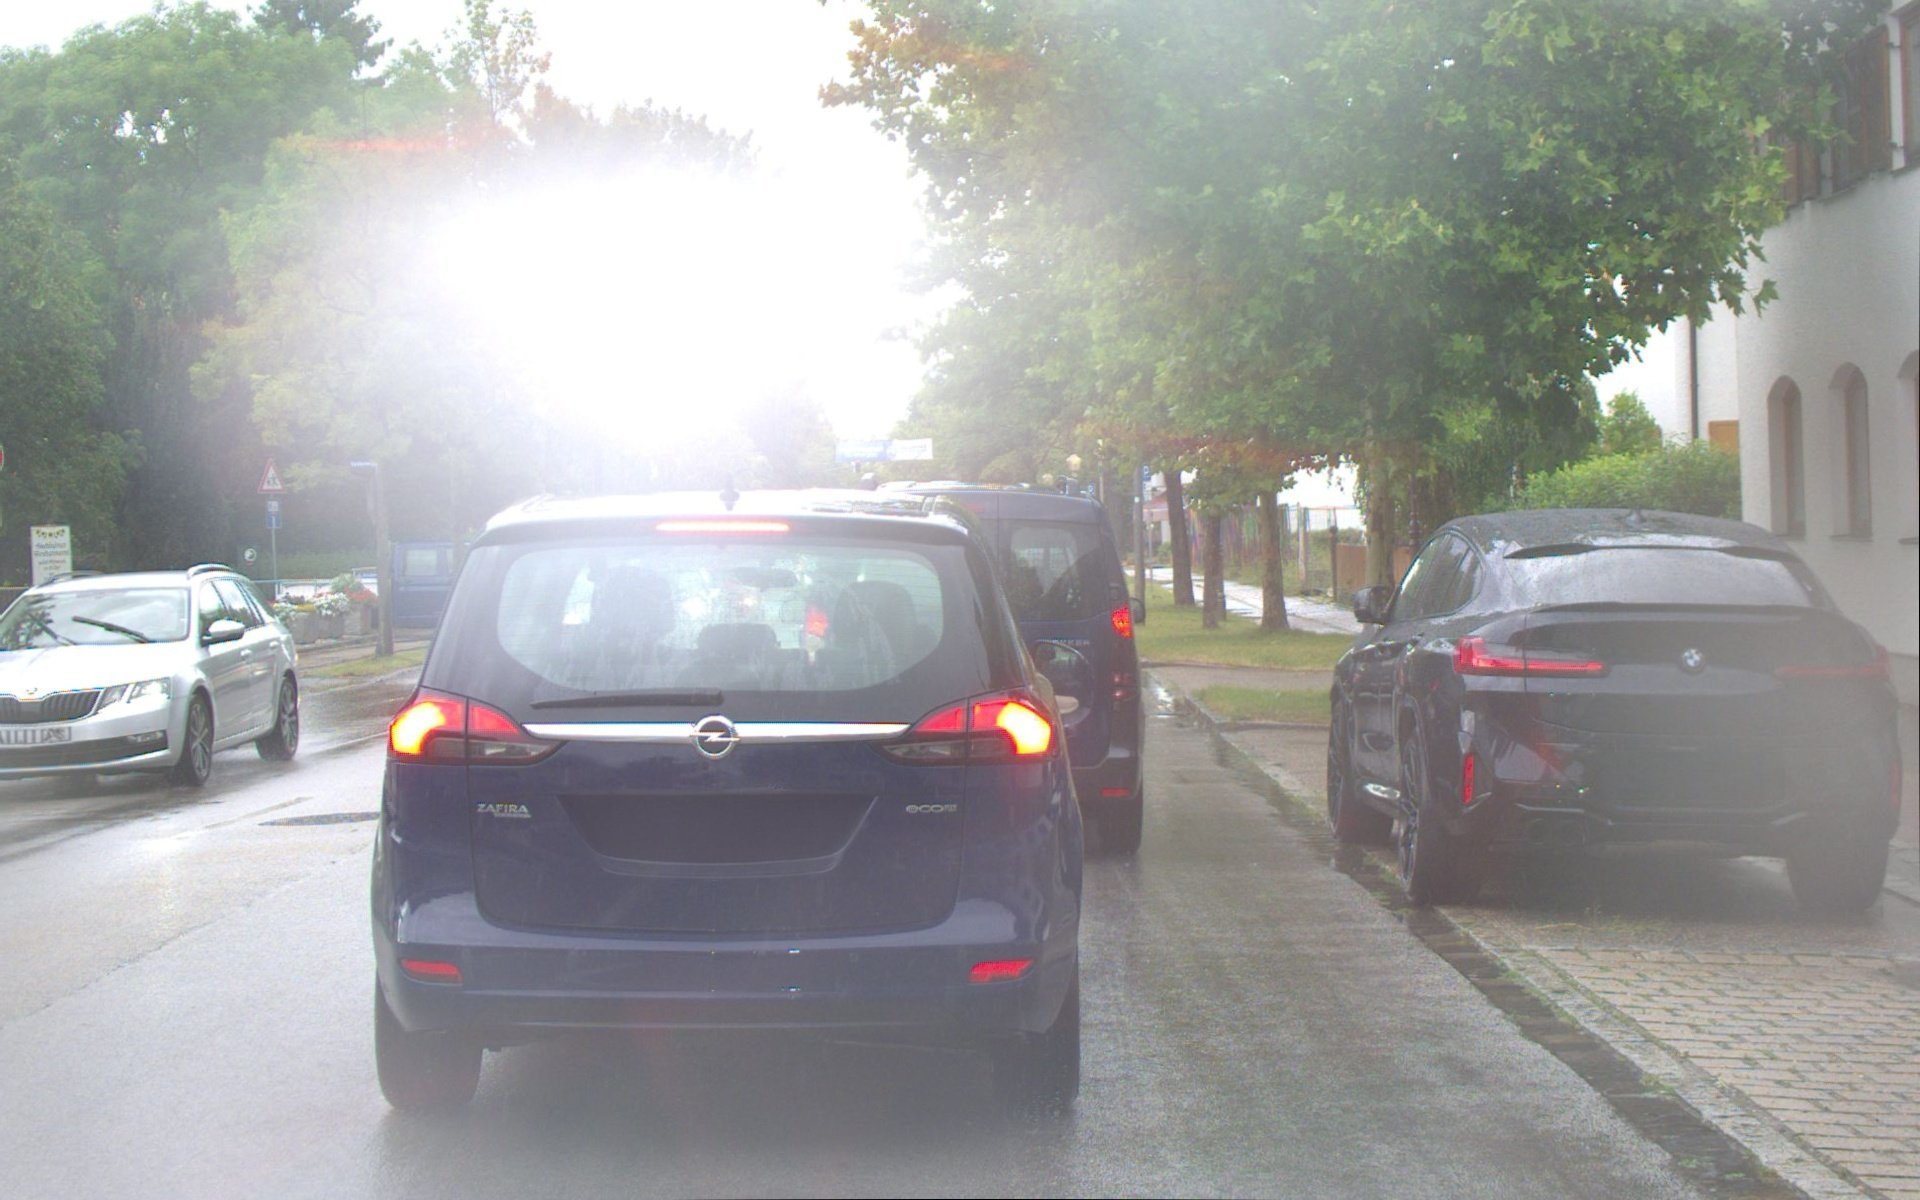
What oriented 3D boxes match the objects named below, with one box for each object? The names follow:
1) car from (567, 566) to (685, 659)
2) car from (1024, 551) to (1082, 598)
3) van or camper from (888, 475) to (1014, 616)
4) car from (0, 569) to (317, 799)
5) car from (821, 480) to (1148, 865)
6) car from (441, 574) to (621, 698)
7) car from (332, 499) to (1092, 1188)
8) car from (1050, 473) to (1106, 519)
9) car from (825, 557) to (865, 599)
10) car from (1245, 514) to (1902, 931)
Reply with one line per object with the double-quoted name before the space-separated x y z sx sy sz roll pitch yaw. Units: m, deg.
"car" -5.413 0.182 56.035 1.473 1.371 3.208 -3 1 1
"car" 2.791 -0.755 103.445 1.630 1.373 3.623 0 0 0
"van or camper" -0.171 -1.097 69.311 2.360 2.656 5.372 -2 1 0
"car" -5.833 0.529 23.917 1.778 1.371 4.184 -3 1 1
"car" 0.114 0.311 17.399 1.500 1.770 3.112 0 1 0
"car" -5.344 0.416 43.260 1.580 1.371 4.184 -3 1 1
"car" -0.578 0.540 9.837 1.768 1.599 3.663 0 1 0
"car" 3.872 -3.419 113.099 1.630 1.373 3.623 -3 1 0
"car" -4.494 -0.866 134.560 1.476 1.618 3.691 0 0 -1
"car" 2.483 0.445 14.965 2.117 1.576 3.936 0 1 -1
